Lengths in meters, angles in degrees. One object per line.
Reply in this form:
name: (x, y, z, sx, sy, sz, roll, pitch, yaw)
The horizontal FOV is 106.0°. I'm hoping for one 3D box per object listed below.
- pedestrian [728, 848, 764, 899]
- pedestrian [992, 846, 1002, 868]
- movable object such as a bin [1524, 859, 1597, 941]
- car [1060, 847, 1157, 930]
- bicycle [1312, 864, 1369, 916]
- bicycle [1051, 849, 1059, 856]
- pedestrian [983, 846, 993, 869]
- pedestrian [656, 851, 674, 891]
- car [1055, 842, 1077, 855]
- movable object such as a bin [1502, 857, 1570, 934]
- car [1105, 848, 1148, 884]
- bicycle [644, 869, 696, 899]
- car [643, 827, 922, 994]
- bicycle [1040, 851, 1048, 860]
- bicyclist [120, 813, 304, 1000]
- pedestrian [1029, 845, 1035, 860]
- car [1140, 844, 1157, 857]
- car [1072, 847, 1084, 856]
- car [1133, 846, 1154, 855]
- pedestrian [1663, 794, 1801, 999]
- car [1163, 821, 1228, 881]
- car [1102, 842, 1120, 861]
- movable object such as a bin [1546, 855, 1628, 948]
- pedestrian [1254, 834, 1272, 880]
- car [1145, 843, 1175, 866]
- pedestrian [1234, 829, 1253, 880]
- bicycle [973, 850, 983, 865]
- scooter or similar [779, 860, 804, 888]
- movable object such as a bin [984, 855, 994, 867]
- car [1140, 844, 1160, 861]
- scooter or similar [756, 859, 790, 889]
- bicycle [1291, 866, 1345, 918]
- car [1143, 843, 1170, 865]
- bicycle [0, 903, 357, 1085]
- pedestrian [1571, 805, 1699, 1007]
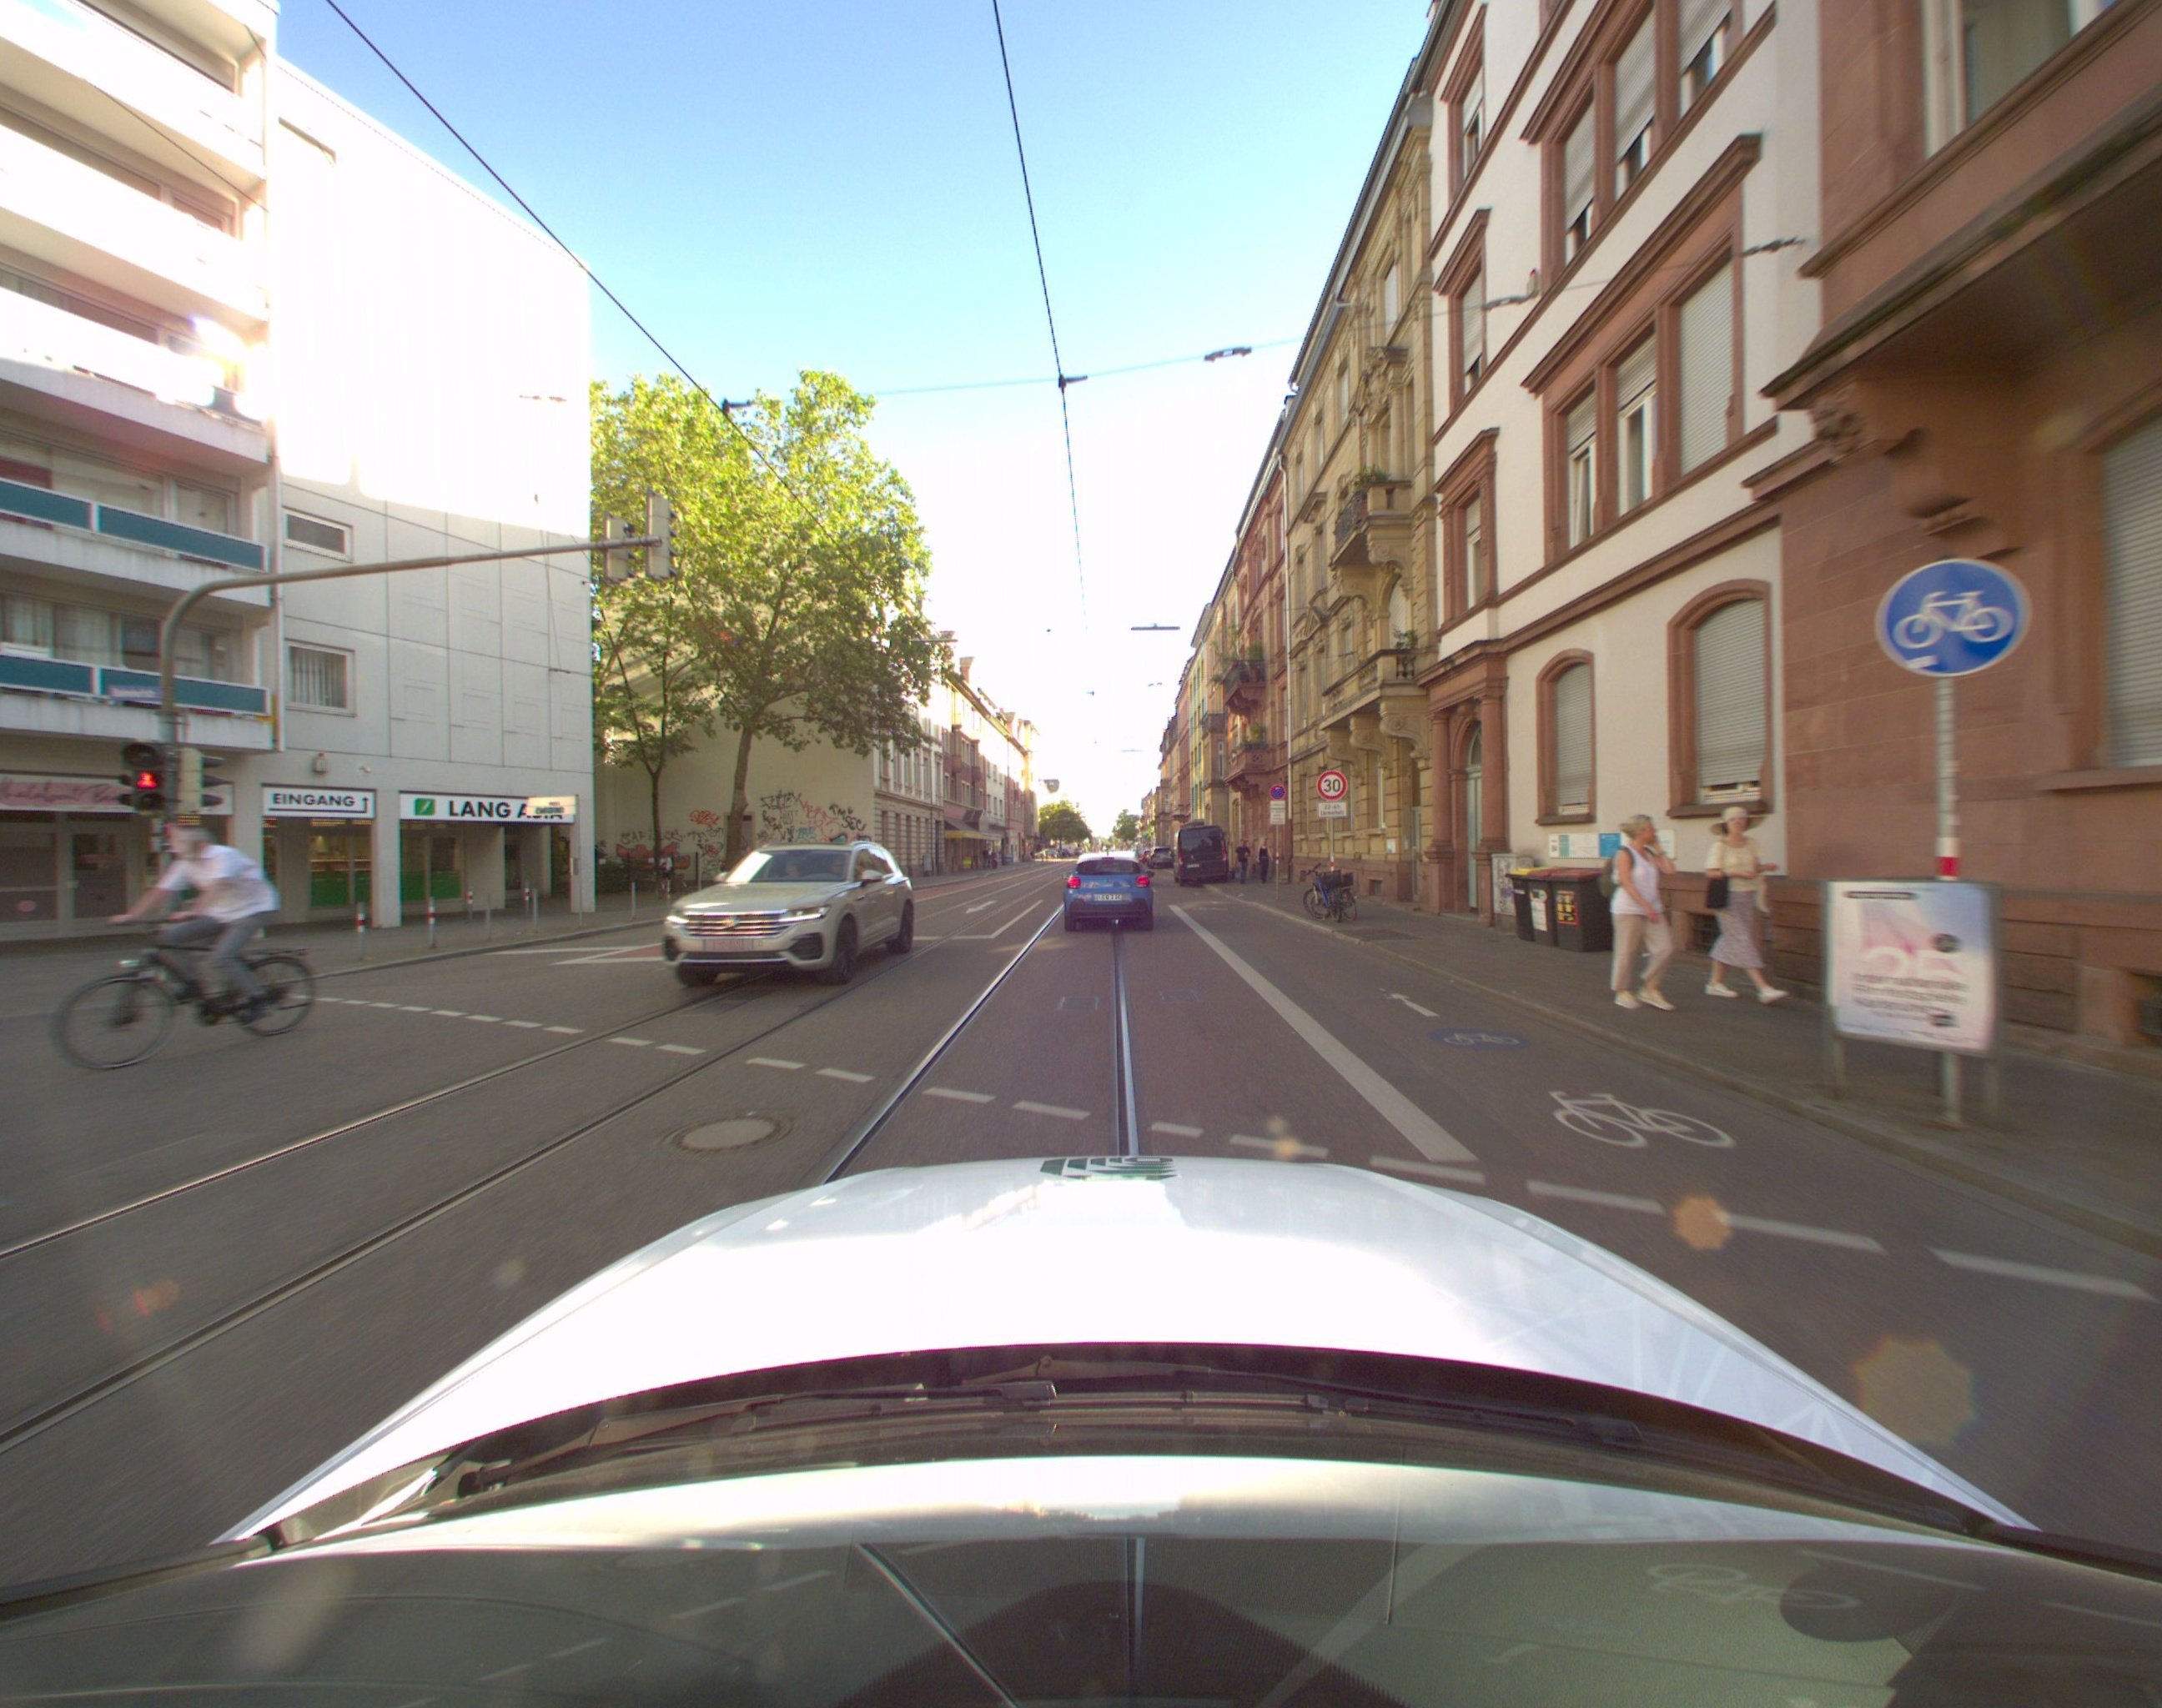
pedestrian: (-11.863, 0.683, 28.877, 0.678, 1.765, 1.029, -1, 0, 12)
pedestrian: (-6.721, 0.233, 64.980, 0.709, 1.764, 0.653, -2, 0, -7)
movable object such as a bin: (6.701, 0.631, 11.404, 0.663, 1.077, 0.571, -2, 0, 0)
car: (0.450, 0.608, 16.848, 1.670, 1.477, 3.996, -1, 0, -3)
bicycle: (5.200, 0.700, 16.420, 0.430, 0.947, 1.760, -1, 0, -5)
bicycle: (-4.142, -0.277, 128.571, 1.118, 1.146, 3.640, -2, 0, -3)
pedestrian: (-7.415, 0.259, 64.772, 0.708, 1.764, 0.570, -2, 0, 0)
pedestrian: (-18.131, 0.741, 35.492, 0.454, 1.718, 0.547, -2, 0, 1)
car: (-3.330, -1.133, 177.614, 4.328, 2.580, 2.192, -2, 0, -24)
movable object such as a bin: (6.723, 0.596, 12.051, 0.663, 1.077, 0.571, -2, 0, 0)
car: (1.955, 0.487, 35.889, 1.661, 1.478, 4.001, -2, 0, 1)
bicycle: (-14.845, 1.094, 29.417, 1.898, 1.034, 0.669, -1, 0, 28)
car: (-3.630, 0.590, 10.979, 1.987, 1.744, 4.563, -1, 0, 1)
bicycle: (-5.843, 0.205, 128.719, 1.118, 1.319, 3.640, -2, 0, -3)
bicyclist: (-7.338, 0.420, 6.921, 0.680, 1.483, 0.779, -1, 0, 1)
pedestrian: (-5.662, -0.169, 94.293, 0.683, 1.638, 0.675, -2, 0, 0)
car: (9.272, -0.445, 112.592, 1.998, 1.672, 4.393, -3, 0, 2)
car: (-0.562, -0.453, 147.336, 1.986, 1.651, 4.001, -2, 0, 1)
car: (11.756, -0.686, 153.586, 3.824, 1.618, 1.791, -2, 0, -1)
pedestrian: (5.937, 0.369, 7.463, 0.703, 1.782, 0.673, -1, 0, 0)
car: (5.065, -0.149, 36.811, 2.263, 2.436, 5.722, -1, 0, 2)
car: (3.373, -0.272, 92.137, 1.986, 2.013, 4.001, -2, 0, 1)
movable object such as a bin: (6.700, 0.615, 10.808, 0.663, 1.153, 0.594, -3, 0, 1)
pedestrian: (7.180, 0.127, 32.197, 0.551, 1.782, 0.606, -1, 0, 0)
car: (6.170, 0.003, 64.003, 1.998, 1.672, 4.808, -2, 0, 2)
pedestrian: (6.507, 0.023, 32.632, 0.583, 2.013, 0.823, -1, 0, 1)
bicycle: (-8.220, 0.281, 64.823, 0.621, 1.159, 2.057, -2, 0, -11)
scooter or similar: (-13.006, 0.889, 36.603, 0.937, 1.222, 0.765, -1, 0, -10)
movable object such as a bin: (-7.395, 0.576, 65.475, 0.608, 0.914, 0.695, -2, 0, 2)
car: (7.418, -0.175, 87.974, 1.998, 1.672, 4.394, 1, 3, 2)
scooter or similar: (-13.401, 0.874, 35.480, 1.228, 1.258, 0.765, -1, 0, -11)
bicycle: (4.740, 0.731, 16.378, 0.430, 0.947, 1.760, -1, 0, -5)
car: (6.370, 0.025, 69.127, 1.899, 1.757, 4.001, -2, 0, 1)
bicycle: (-7.326, 1.050, 6.772, 0.690, 1.120, 2.084, -1, 0, 1)
pedestrian: (4.924, 0.435, 7.274, 0.626, 1.701, 0.681, -1, 0, -7)
